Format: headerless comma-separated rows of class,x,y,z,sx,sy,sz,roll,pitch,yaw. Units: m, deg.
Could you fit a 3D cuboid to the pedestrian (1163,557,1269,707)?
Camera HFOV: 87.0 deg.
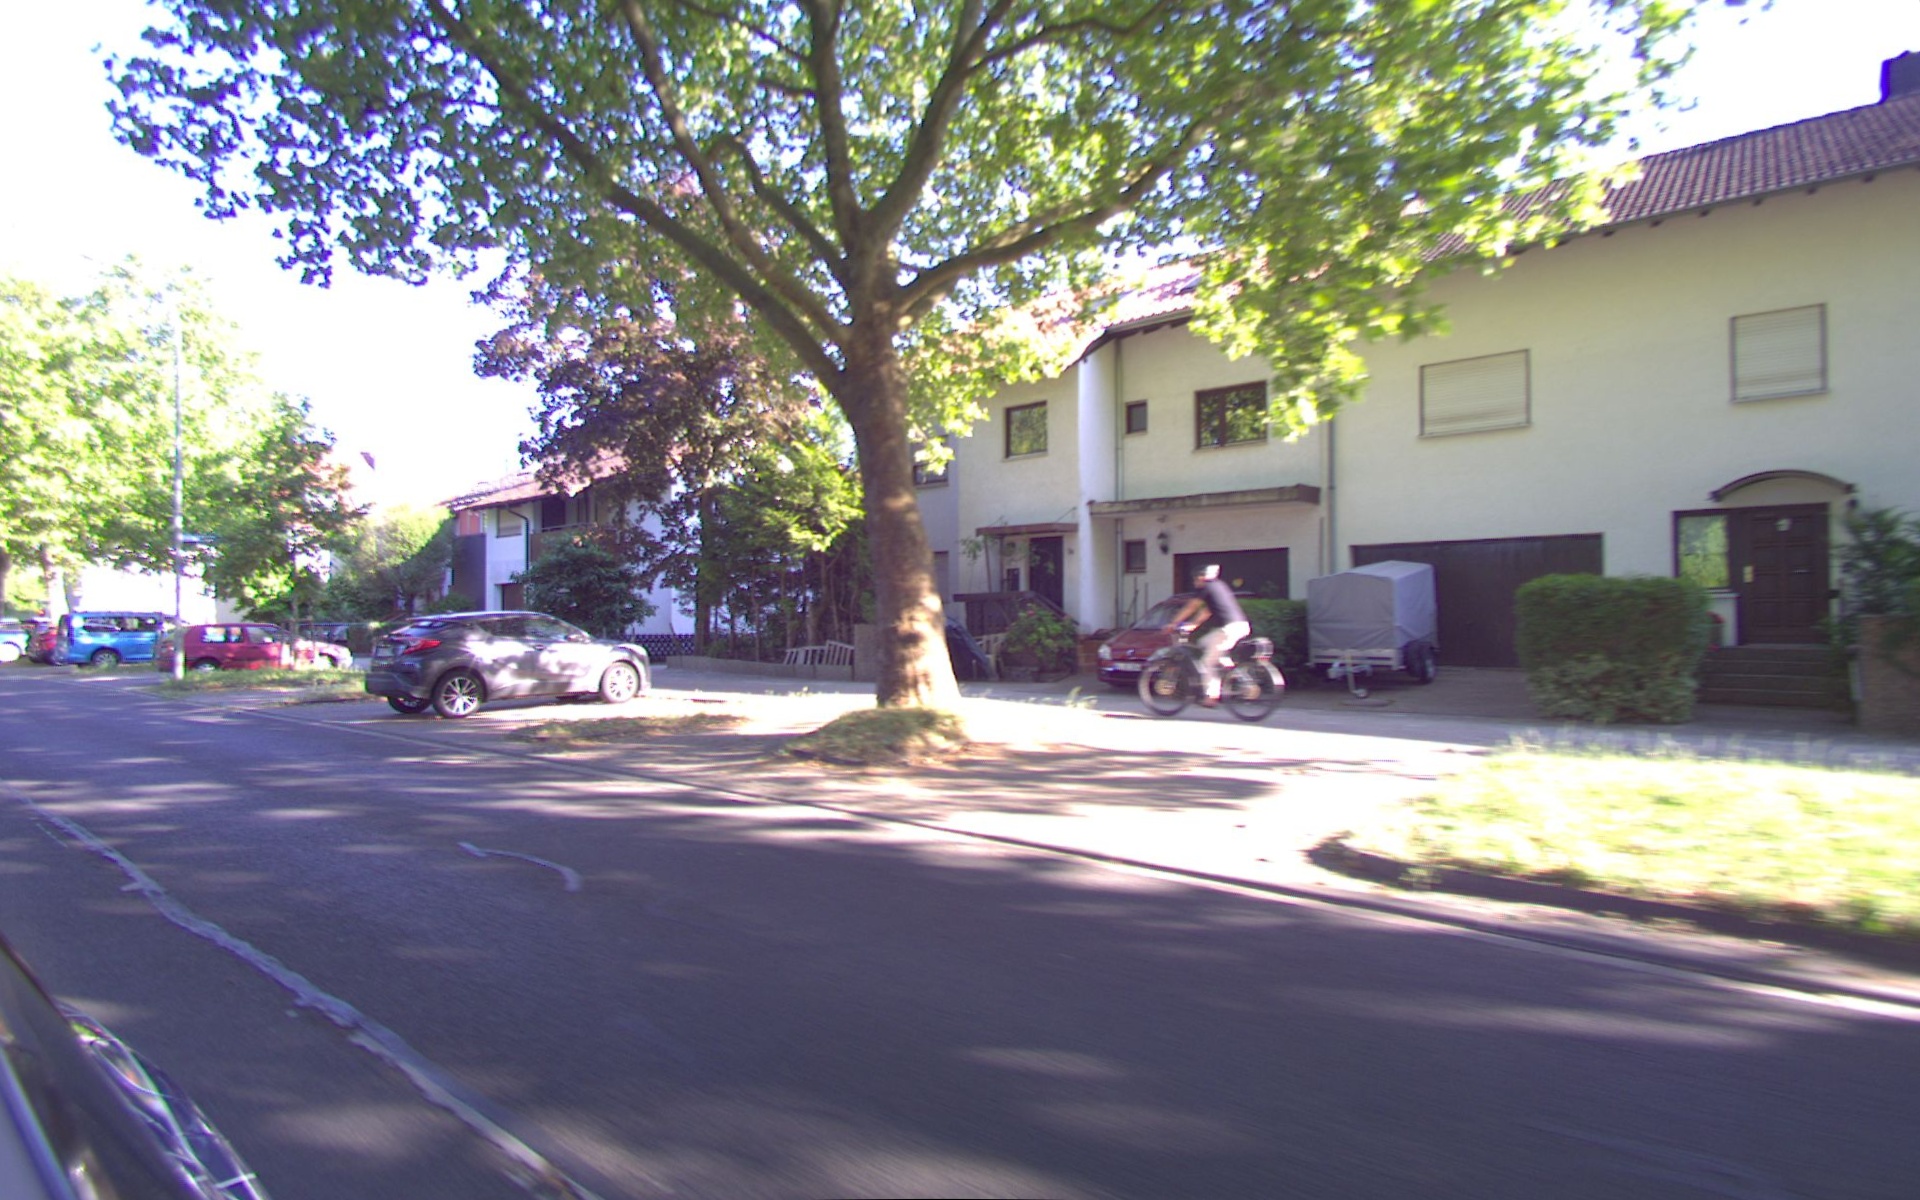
pedestrian,3.095,0.380,12.253,1.065,1.729,0.610,-2,-1,41

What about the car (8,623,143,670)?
car,-32.990,1.702,37.831,1.722,1.528,3.483,-2,0,33

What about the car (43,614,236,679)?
car,-25.421,1.388,31.491,1.992,1.838,4.346,-1,-1,36

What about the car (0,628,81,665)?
car,-40.956,2.019,43.768,1.872,1.512,4.125,-2,-1,35

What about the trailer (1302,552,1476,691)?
trailer,7.094,0.289,16.580,1.641,1.940,3.420,-4,1,39

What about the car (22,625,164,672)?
car,-31.179,1.705,36.474,1.779,1.528,3.607,-2,-1,38

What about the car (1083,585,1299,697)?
car,4.084,0.628,17.498,1.999,1.487,3.947,-2,3,41

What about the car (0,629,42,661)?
car,-48.373,2.275,50.314,1.827,1.546,3.732,-1,-1,35

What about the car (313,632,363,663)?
car,-23.909,1.808,38.888,0.699,1.125,1.499,-2,-1,38

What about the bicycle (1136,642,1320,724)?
bicycle,3.189,0.966,12.221,2.155,0.887,0.465,-2,-1,41

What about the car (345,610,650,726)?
car,-7.098,0.958,15.842,1.815,1.530,3.949,-2,-1,39

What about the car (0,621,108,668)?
car,-36.991,1.759,40.565,1.829,1.729,4.053,-2,-1,37

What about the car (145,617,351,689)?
car,-17.532,1.244,25.073,1.662,1.530,3.837,-2,0,36
